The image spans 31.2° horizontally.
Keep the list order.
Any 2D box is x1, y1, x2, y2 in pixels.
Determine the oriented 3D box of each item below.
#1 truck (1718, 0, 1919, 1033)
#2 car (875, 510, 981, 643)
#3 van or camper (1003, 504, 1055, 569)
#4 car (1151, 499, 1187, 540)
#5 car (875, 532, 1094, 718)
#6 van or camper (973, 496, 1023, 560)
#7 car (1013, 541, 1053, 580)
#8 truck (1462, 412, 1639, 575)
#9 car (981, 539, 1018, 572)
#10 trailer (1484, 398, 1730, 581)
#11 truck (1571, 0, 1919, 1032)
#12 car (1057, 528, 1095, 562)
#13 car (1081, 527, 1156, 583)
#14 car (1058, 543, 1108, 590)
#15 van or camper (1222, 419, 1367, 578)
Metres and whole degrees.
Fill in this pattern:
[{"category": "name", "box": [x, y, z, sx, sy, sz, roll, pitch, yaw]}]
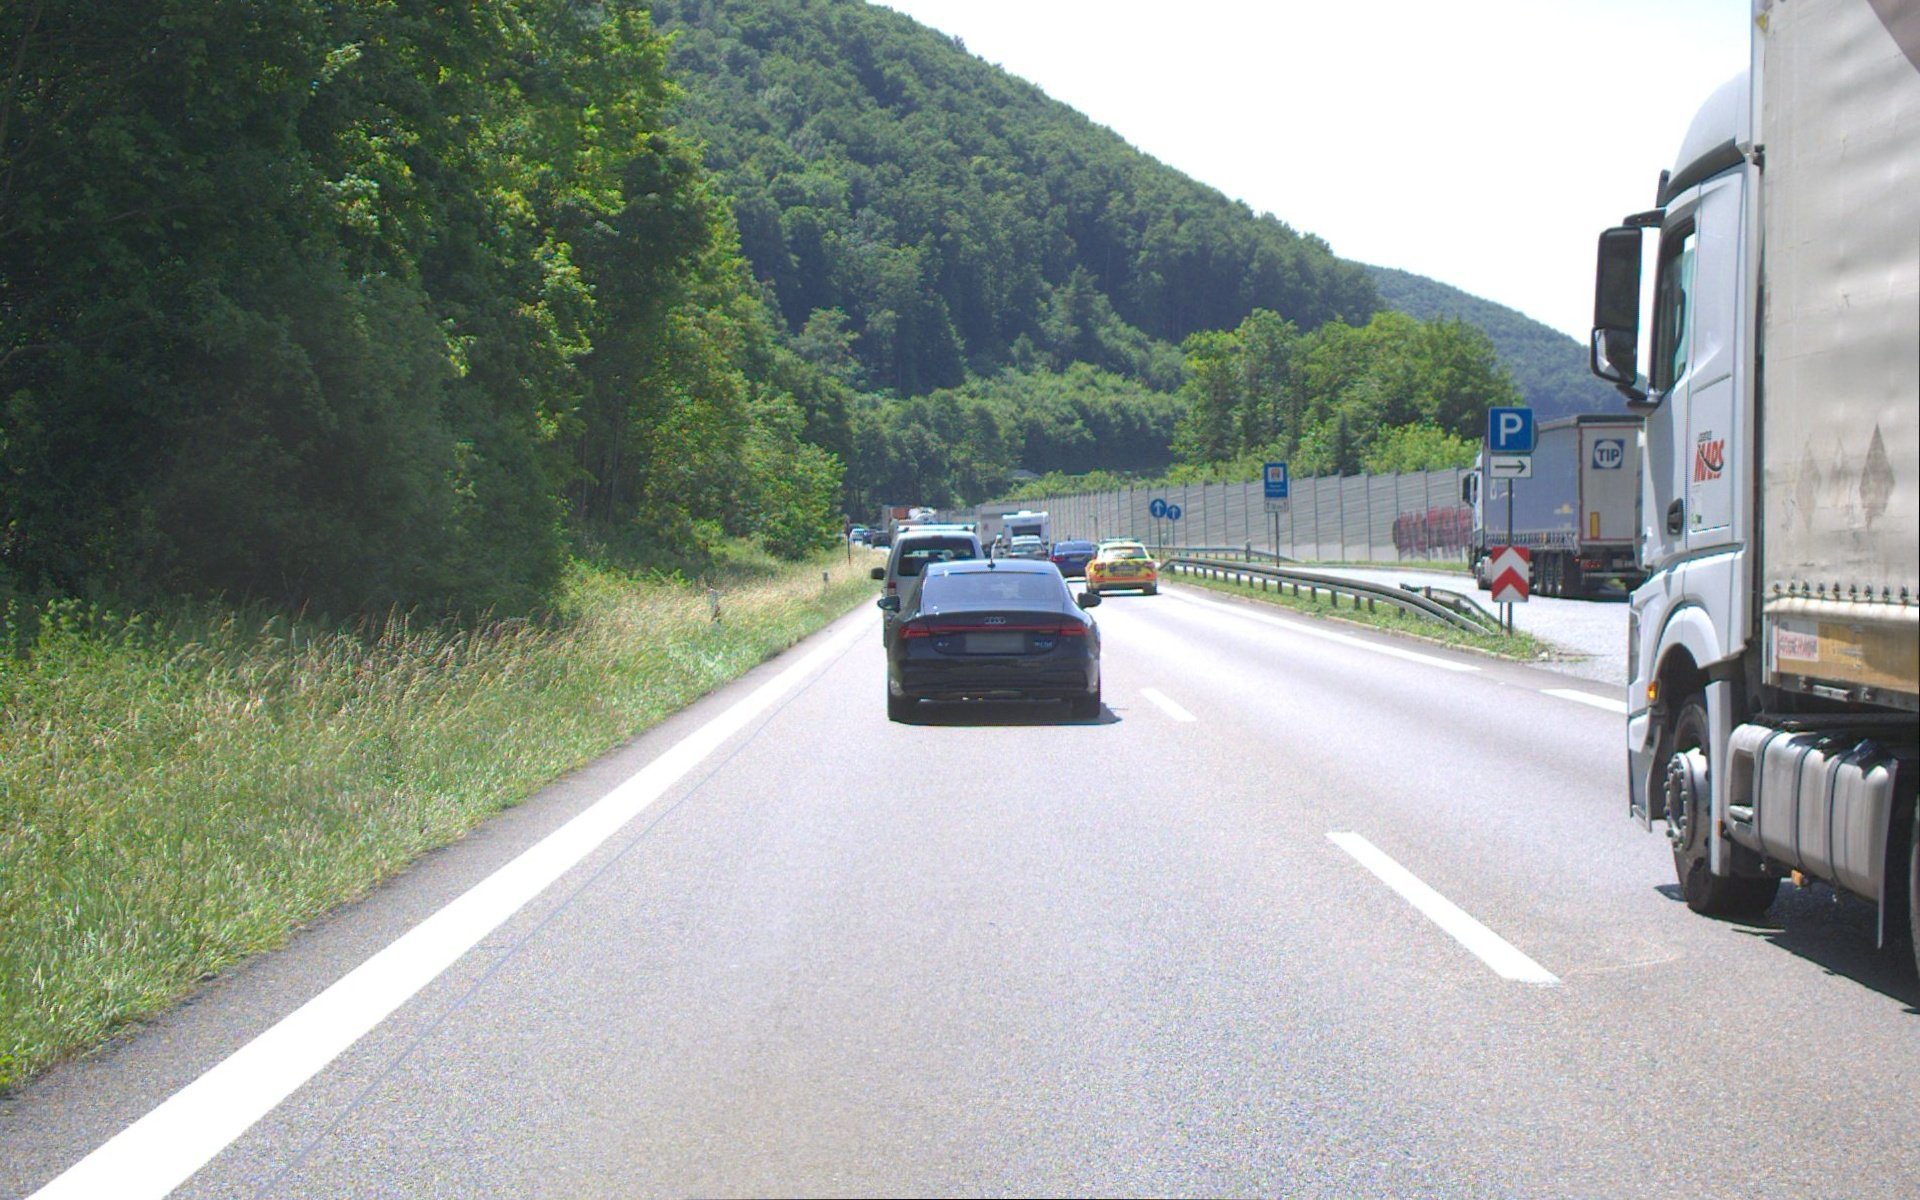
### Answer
[{"category": "truck", "box": [4.402, -0.657, 6.201, 2.726, 4.054, 13.742, 1, 0, -1]}, {"category": "car", "box": [-0.507, -0.381, 54.354, 1.521, 1.961, 3.514, 3, 1, -1]}, {"category": "van or camper", "box": [3.448, -3.166, 172.725, 2.429, 3.144, 5.203, 2, 0, 0]}, {"category": "car", "box": [10.182, -3.919, 167.821, 1.576, 2.007, 3.428, 0, 1, 0]}, {"category": "car", "box": [0.216, 0.179, 30.855, 1.812, 1.509, 3.514, -1, 1, 0]}, {"category": "van or camper", "box": [2.394, -4.534, 218.511, 2.794, 3.894, 6.167, 2, 0, -2]}, {"category": "car", "box": [2.977, -1.628, 141.479, 1.530, 1.520, 3.597, 2, 0, 0]}, {"category": "truck", "box": [14.619, -2.613, 85.533, 3.411, 3.887, 5.388, 1, 1, 0]}, {"category": "car", "box": [2.307, -2.580, 200.064, 1.993, 1.788, 4.000, 2, 0, -1]}, {"category": "trailer", "box": [14.660, -2.465, 78.961, 3.411, 3.887, 11.152, 1, 1, 0]}, {"category": "truck", "box": [4.282, -0.695, 13.082, 2.719, 4.054, 5.754, 1, 0, -1]}, {"category": "car", "box": [6.942, -3.328, 206.293, 1.993, 2.007, 4.000, 0, 1, -1]}, {"category": "car", "box": [4.350, -1.247, 94.730, 1.879, 1.493, 4.000, 1, 1, 0]}, {"category": "car", "box": [4.225, -1.145, 118.527, 1.530, 1.520, 3.597, 2, 0, 0]}, {"category": "van or camper", "box": [8.542, -2.541, 88.380, 2.794, 3.828, 6.167, 2, 0, -2]}]
